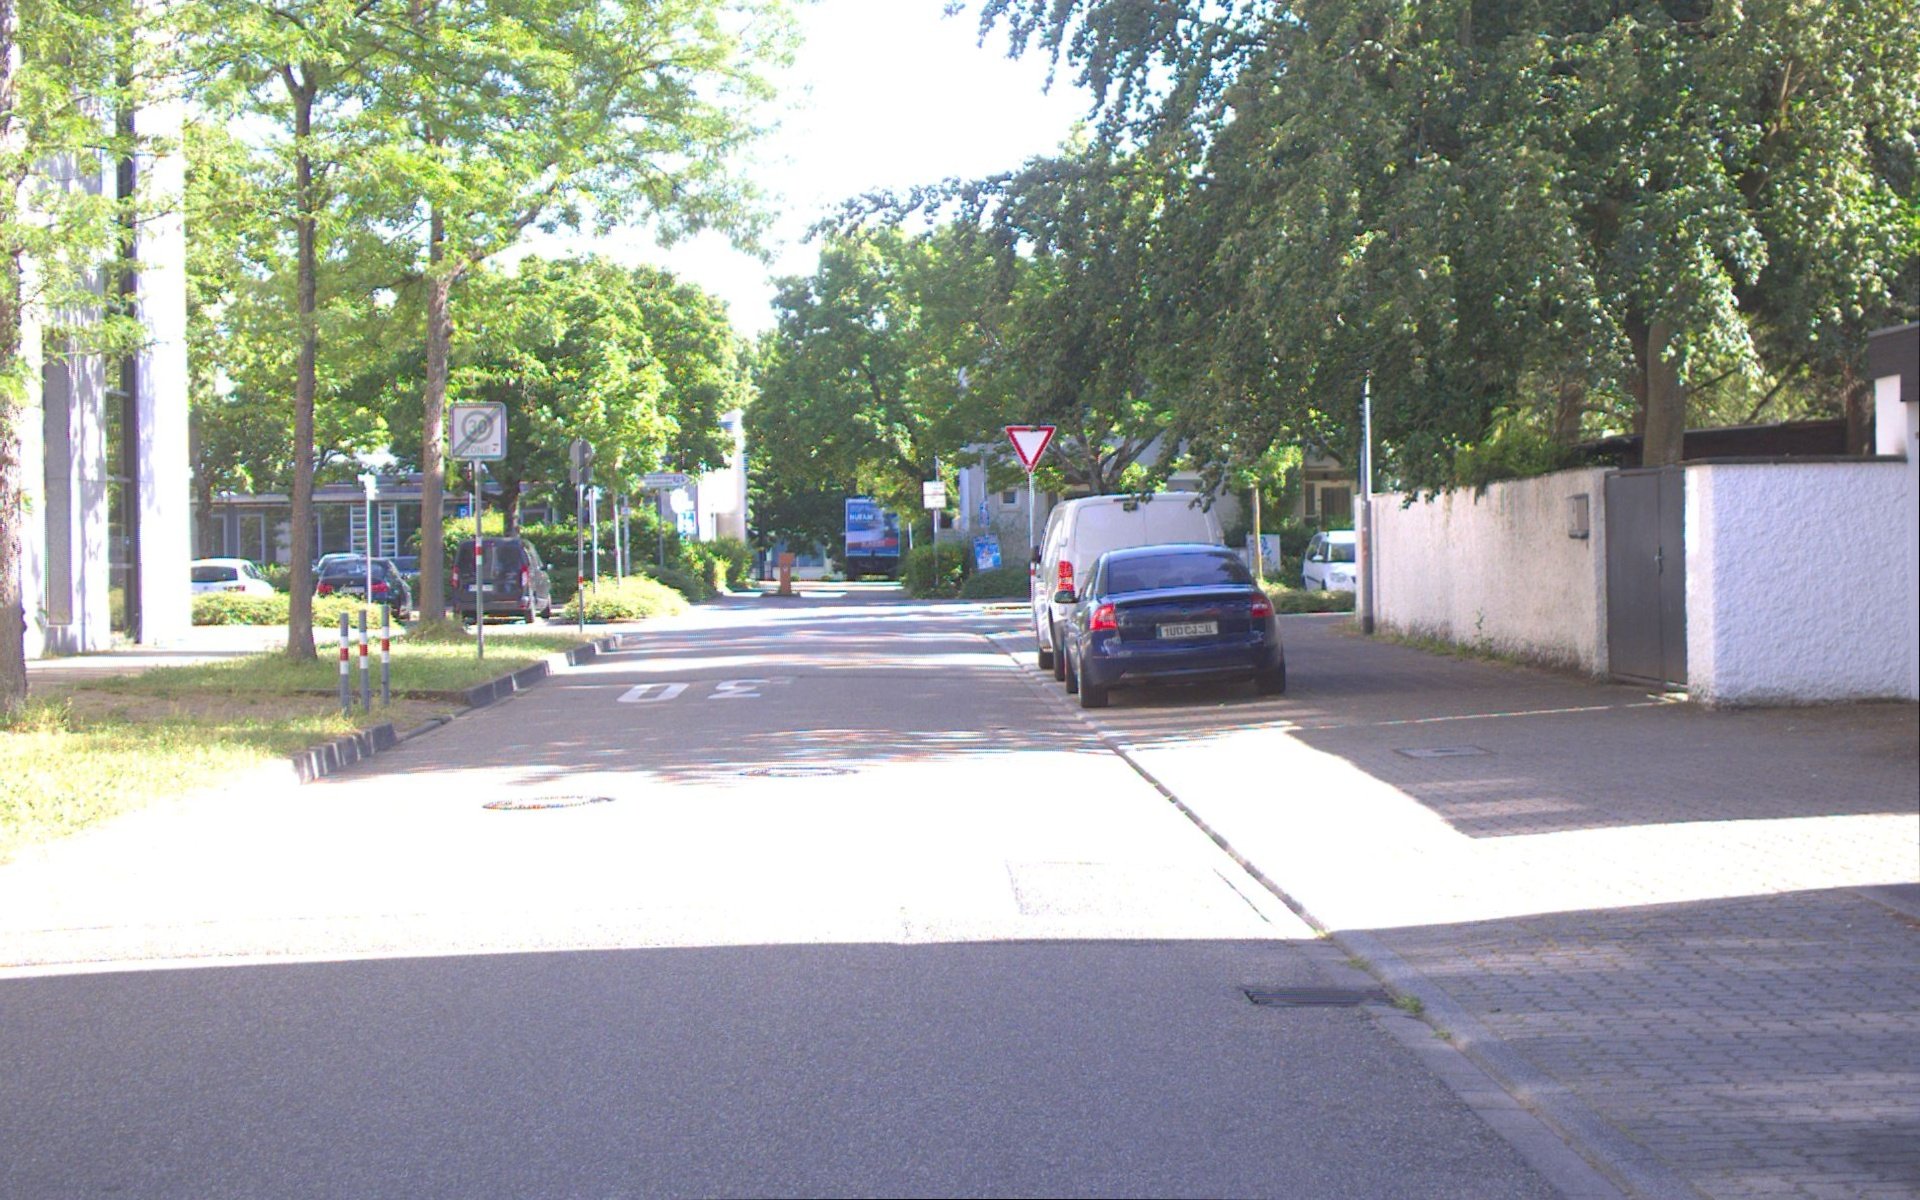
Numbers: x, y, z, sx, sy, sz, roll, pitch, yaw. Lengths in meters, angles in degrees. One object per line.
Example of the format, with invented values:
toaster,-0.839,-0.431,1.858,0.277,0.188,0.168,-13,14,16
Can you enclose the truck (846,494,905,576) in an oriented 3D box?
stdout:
truck,-4.090,-3.156,168.279,2.760,3.856,9.330,0,1,-1

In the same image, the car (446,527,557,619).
car,-9.779,-0.604,73.615,1.874,1.840,4.169,-1,2,-1

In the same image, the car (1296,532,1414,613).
car,8.434,-0.612,73.712,1.823,1.592,4.169,-1,2,-3

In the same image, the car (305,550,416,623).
car,-12.770,-0.315,73.416,1.823,1.401,4.169,-1,2,-3

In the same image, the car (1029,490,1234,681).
car,1.808,-0.188,37.772,1.898,1.907,5.148,-1,1,0

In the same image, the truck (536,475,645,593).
truck,-12.267,-2.180,114.684,2.802,3.793,6.924,0,1,1

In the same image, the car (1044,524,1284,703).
car,1.799,0.080,31.523,1.825,1.418,4.283,-4,1,0

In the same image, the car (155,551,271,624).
car,-15.935,-0.295,73.504,1.802,1.431,3.913,0,2,-3
